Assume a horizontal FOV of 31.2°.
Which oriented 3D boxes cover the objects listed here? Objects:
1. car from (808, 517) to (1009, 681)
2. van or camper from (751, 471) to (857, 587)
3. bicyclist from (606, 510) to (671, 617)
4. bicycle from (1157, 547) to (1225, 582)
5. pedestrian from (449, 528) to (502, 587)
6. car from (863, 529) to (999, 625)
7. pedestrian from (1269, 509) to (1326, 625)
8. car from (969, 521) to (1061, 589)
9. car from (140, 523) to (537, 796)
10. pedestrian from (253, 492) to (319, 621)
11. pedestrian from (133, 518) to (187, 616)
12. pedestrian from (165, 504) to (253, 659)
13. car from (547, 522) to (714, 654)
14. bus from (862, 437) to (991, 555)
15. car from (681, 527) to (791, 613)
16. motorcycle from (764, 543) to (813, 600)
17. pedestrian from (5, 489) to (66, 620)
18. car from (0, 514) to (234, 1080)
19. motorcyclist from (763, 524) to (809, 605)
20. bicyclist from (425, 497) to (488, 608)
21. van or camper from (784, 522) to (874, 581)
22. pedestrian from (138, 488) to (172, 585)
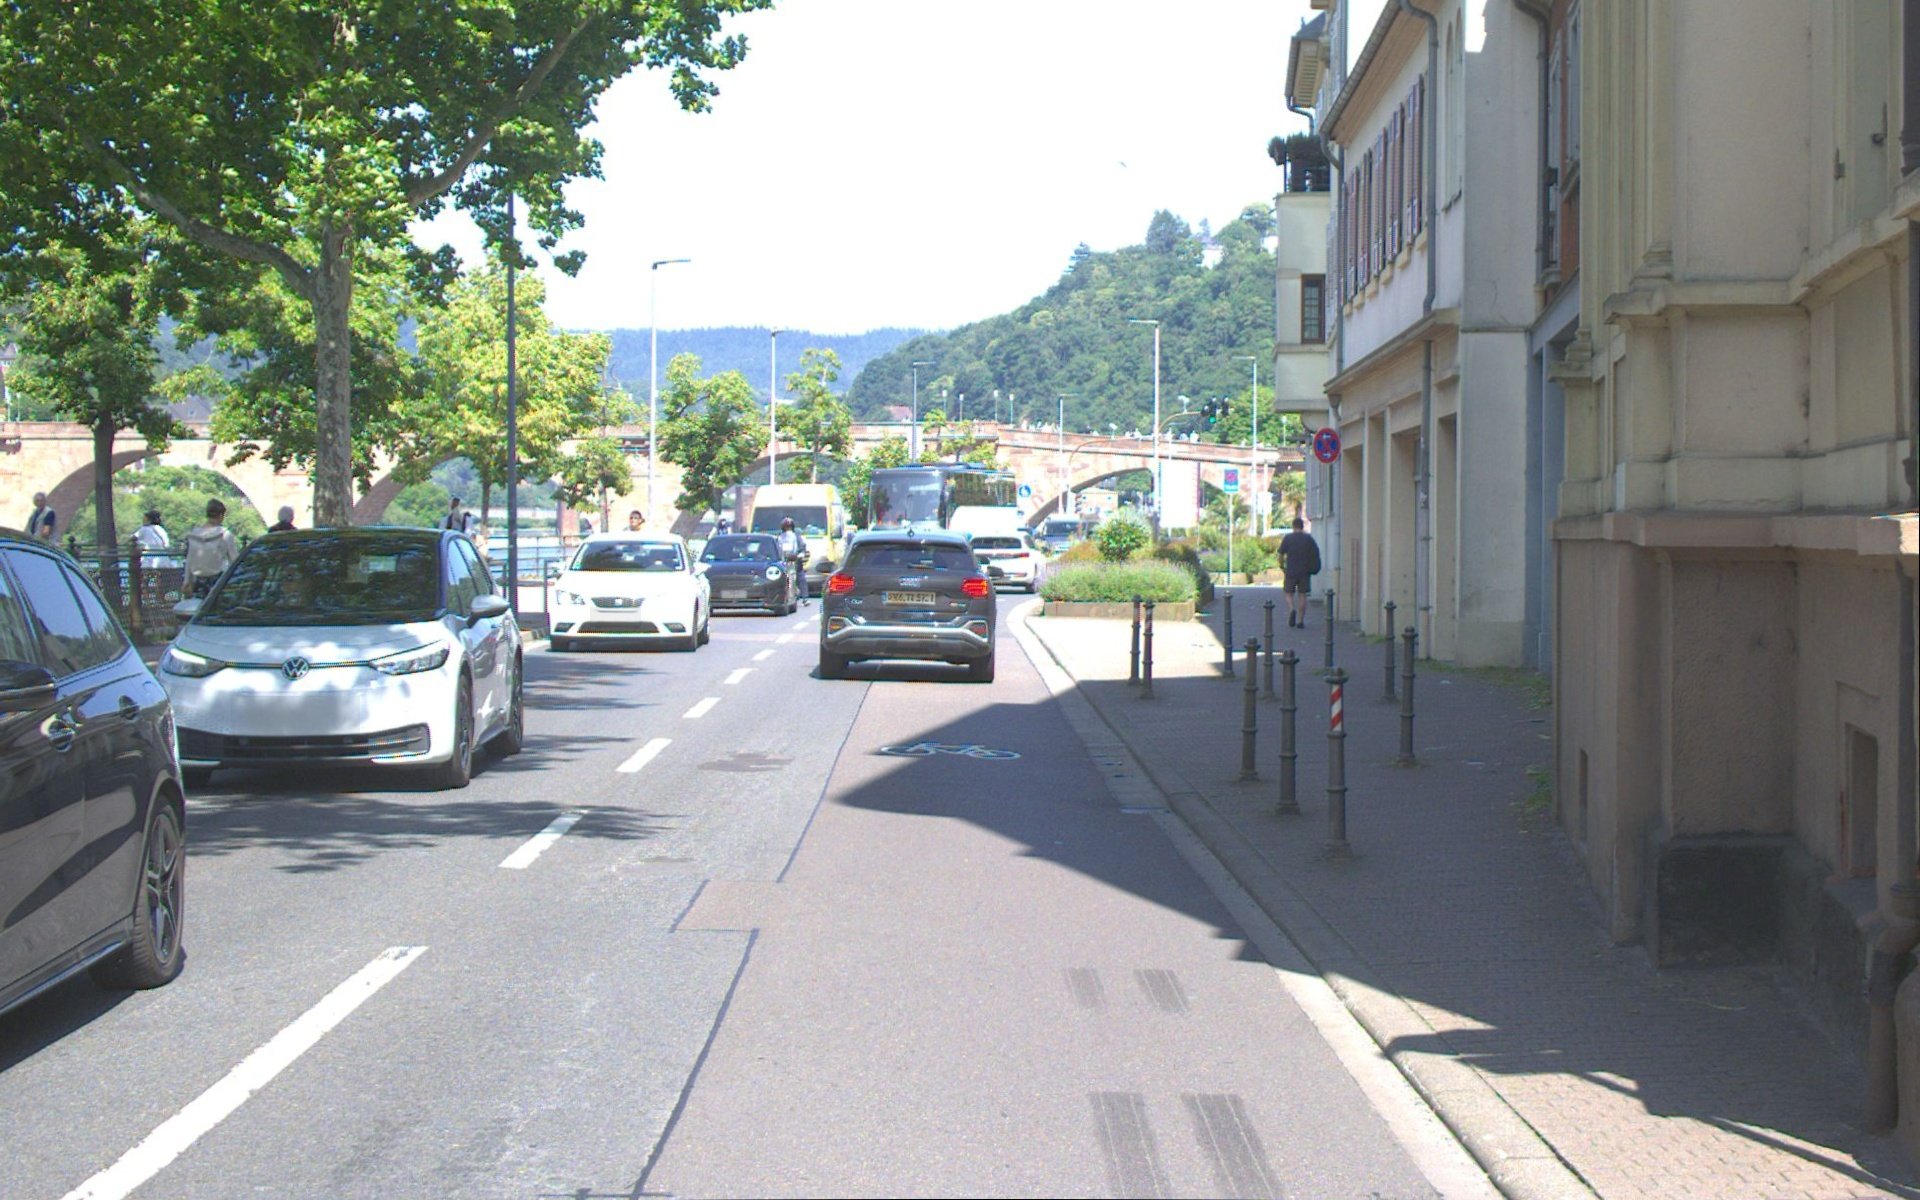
[{"bbox_3d":[-0.573,-0.032,36.079,1.926,1.548,4.832,2,0,-2],"label":"car"},{"bbox_3d":[-3.579,-1.639,79.937,2.087,2.548,7.092,1,1,0],"label":"van or camper"},{"bbox_3d":[-4.778,-0.546,51.130,0.766,1.526,1.025,2,3,4],"label":"bicyclist"},{"bbox_3d":[6.328,-0.976,94.211,1.810,0.875,0.502,2,2,3],"label":"bicycle"},{"bbox_3d":[-10.560,-0.929,74.934,0.937,1.276,0.849,0,1,8],"label":"pedestrian"},{"bbox_3d":[-0.421,-0.401,55.486,1.927,1.456,4.832,0,1,3],"label":"car"},{"bbox_3d":[5.109,-0.503,52.095,0.762,1.708,0.696,-3,1,3],"label":"pedestrian"},{"bbox_3d":[1.350,-1.097,82.221,1.927,1.548,4.831,-1,1,4],"label":"car"},{"bbox_3d":[-3.774,0.285,21.575,1.735,1.513,4.405,-1,1,-1],"label":"car"},{"bbox_3d":[-8.943,-0.580,45.631,0.656,1.676,0.758,3,1,-1],"label":"pedestrian"},{"bbox_3d":[-13.311,-0.557,57.210,0.694,1.610,0.663,0,1,7],"label":"pedestrian"},{"bbox_3d":[-7.725,-0.192,35.402,0.761,1.581,0.696,0,1,-1],"label":"pedestrian"},{"bbox_3d":[-4.075,-0.188,42.979,1.701,1.440,4.092,1,2,-1],"label":"car"},{"bbox_3d":[-0.975,-3.290,112.047,2.632,3.552,12.980,0,0,6],"label":"bus"},{"bbox_3d":[-3.912,-0.550,60.618,1.701,1.453,4.002,0,1,0],"label":"car"},{"bbox_3d":[-3.386,-0.572,67.603,0.883,1.073,2.328,0,1,-4],"label":"motorcycle"},{"bbox_3d":[-13.904,-0.685,51.721,0.693,1.938,0.887,0,1,-1],"label":"pedestrian"},{"bbox_3d":[-3.433,0.542,9.824,1.701,1.513,4.405,-2,1,1],"label":"car"},{"bbox_3d":[-3.432,-0.697,67.735,0.878,1.578,1.025,0,1,-2],"label":"motorcyclist"},{"bbox_3d":[-7.273,-0.686,49.676,0.719,1.578,1.089,0,1,1],"label":"bicyclist"},{"bbox_3d":[-3.296,-1.246,87.409,1.993,1.449,4.683,0,1,2],"label":"van or camper"},{"bbox_3d":[-13.278,-1.048,56.686,0.414,1.592,0.450,0,1,7],"label":"pedestrian"}]
